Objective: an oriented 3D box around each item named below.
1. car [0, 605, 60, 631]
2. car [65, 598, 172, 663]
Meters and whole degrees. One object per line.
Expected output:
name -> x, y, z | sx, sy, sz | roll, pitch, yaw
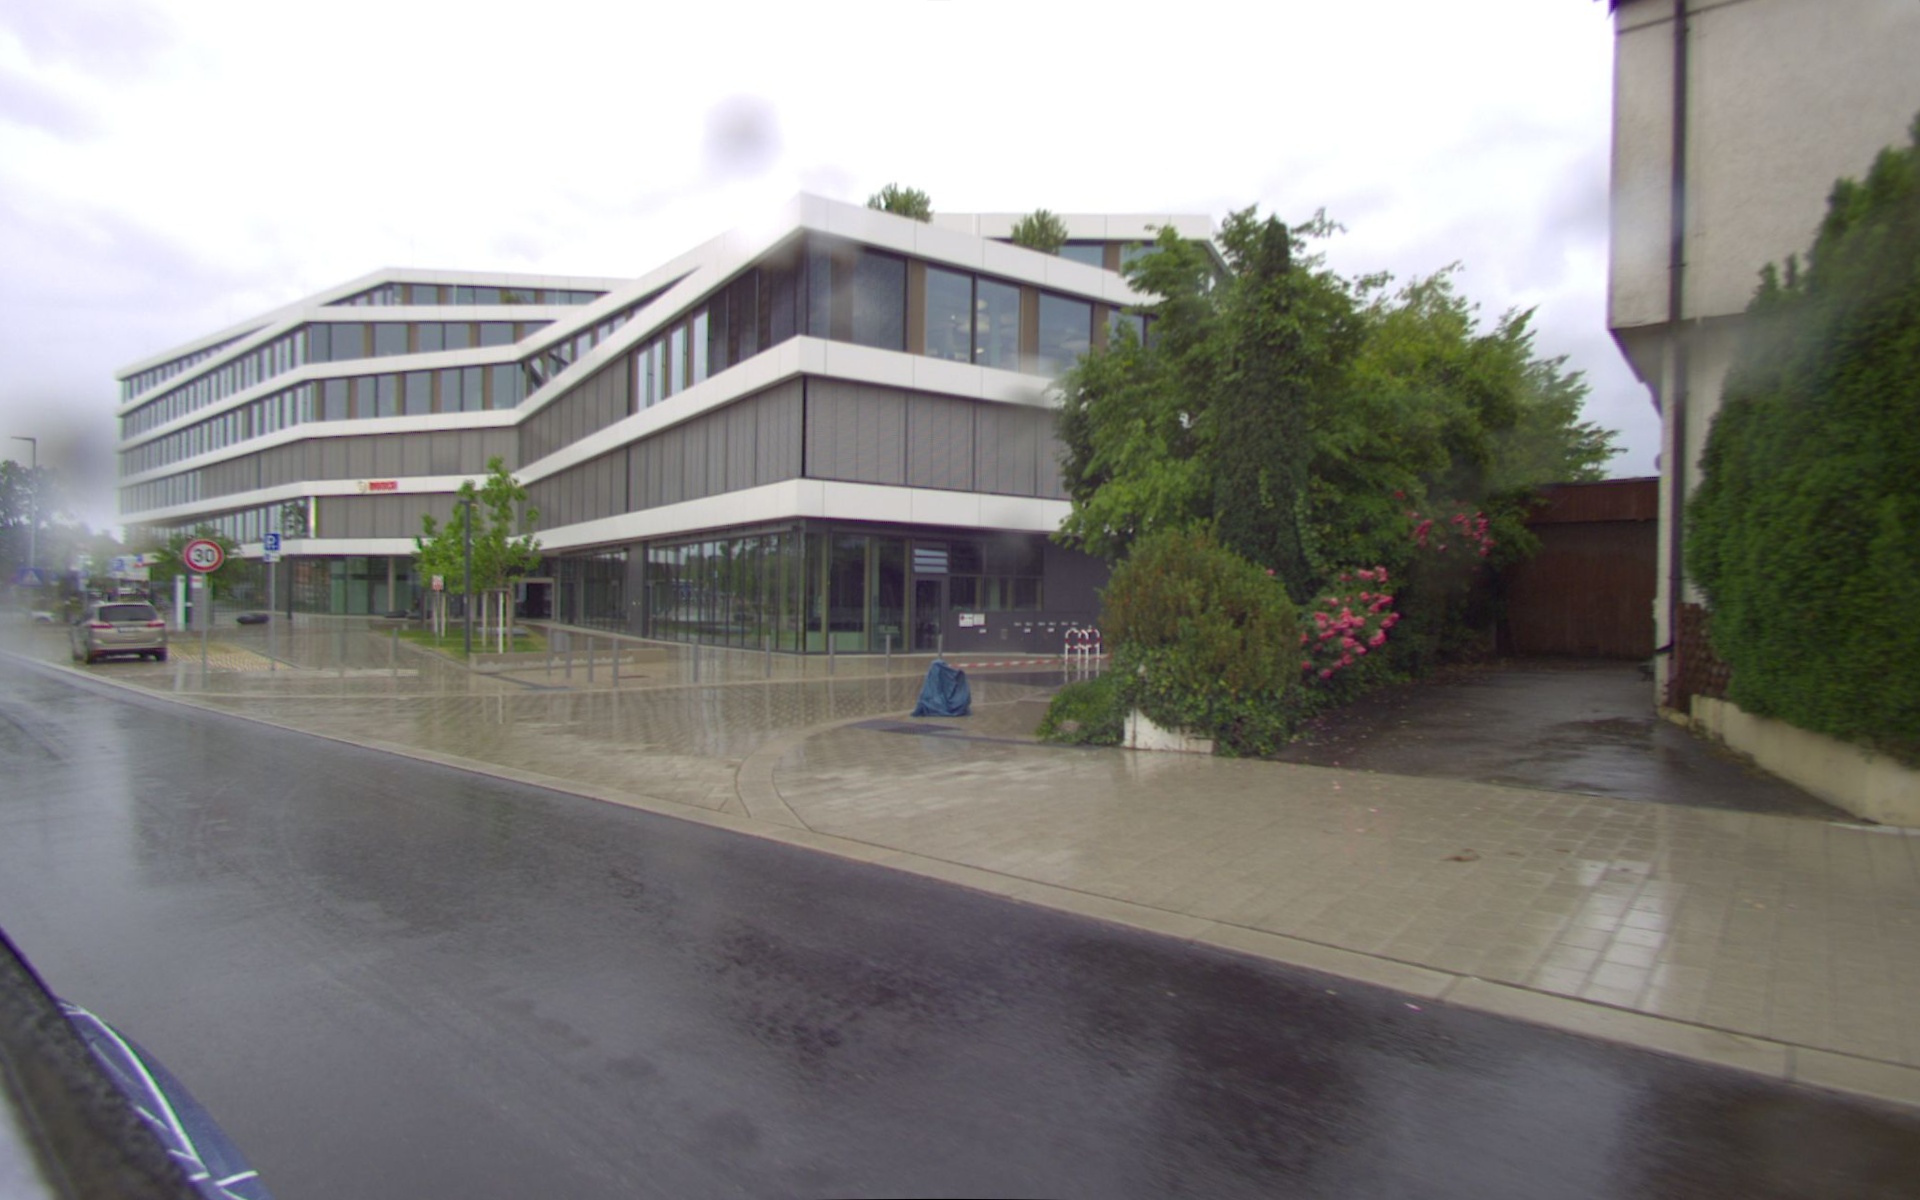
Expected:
car -> -56.609, 1.083, 60.520 | 4.109, 1.430, 2.002 | -3, 1, -44
car -> -23.956, 0.811, 28.760 | 4.324, 1.718, 1.817 | 0, 0, 43
